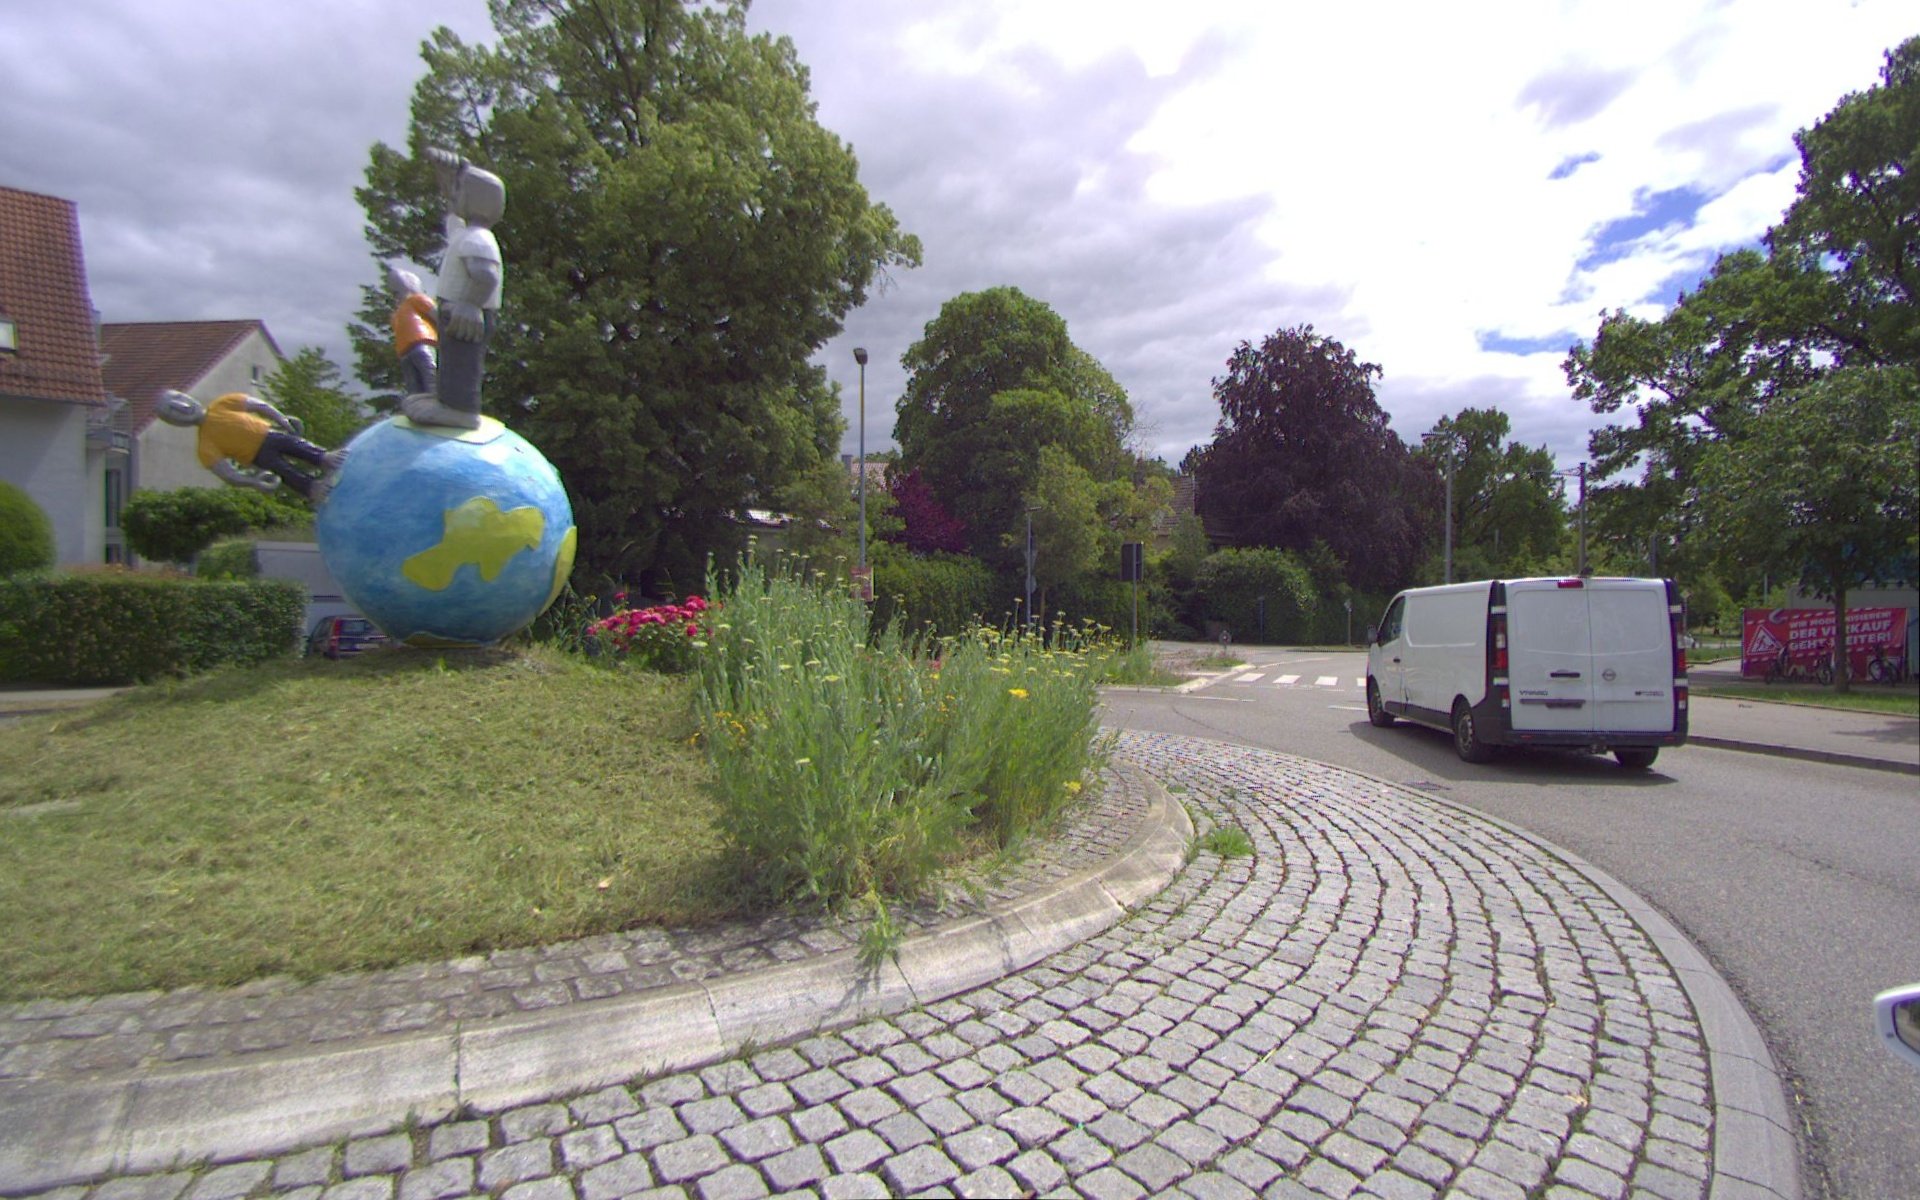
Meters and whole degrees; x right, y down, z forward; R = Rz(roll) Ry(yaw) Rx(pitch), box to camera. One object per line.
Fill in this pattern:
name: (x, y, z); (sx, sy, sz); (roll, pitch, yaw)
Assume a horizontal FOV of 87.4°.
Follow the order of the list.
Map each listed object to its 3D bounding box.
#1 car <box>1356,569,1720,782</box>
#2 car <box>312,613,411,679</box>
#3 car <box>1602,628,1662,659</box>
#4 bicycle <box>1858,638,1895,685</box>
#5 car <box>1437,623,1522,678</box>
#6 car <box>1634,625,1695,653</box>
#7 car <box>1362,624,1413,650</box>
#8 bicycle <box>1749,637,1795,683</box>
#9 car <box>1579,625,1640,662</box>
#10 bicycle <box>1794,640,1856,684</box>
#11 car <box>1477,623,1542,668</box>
car: (6.496, 0.671, 12.111); (2.000, 1.971, 4.995); (2, 1, 8)
car: (-15.071, 1.107, 25.246); (1.978, 1.506, 3.965); (0, -1, -32)
car: (38.016, 2.427, 56.783); (3.898, 1.496, 2.042); (0, 1, -44)
bicycle: (23.439, 1.551, 25.701); (0.622, 1.063, 2.060); (3, 2, 41)
car: (17.079, 1.600, 32.923); (1.907, 1.558, 3.910); (1, 1, 36)
car: (42.017, 2.299, 59.884); (3.891, 1.521, 2.046); (0, 1, -39)
car: (25.950, 2.229, 60.906); (2.035, 1.405, 4.034); (1, 1, 35)
bicycle: (22.049, 1.611, 27.261); (1.953, 1.142, 0.624); (0, 2, -41)
car: (34.170, 2.257, 52.821); (3.898, 1.768, 1.879); (0, 1, -44)
bicycle: (22.742, 1.606, 26.399); (2.048, 1.063, 0.626); (1, 2, -32)
car: (21.586, 1.729, 39.408); (1.893, 1.521, 3.913); (1, 1, 34)
